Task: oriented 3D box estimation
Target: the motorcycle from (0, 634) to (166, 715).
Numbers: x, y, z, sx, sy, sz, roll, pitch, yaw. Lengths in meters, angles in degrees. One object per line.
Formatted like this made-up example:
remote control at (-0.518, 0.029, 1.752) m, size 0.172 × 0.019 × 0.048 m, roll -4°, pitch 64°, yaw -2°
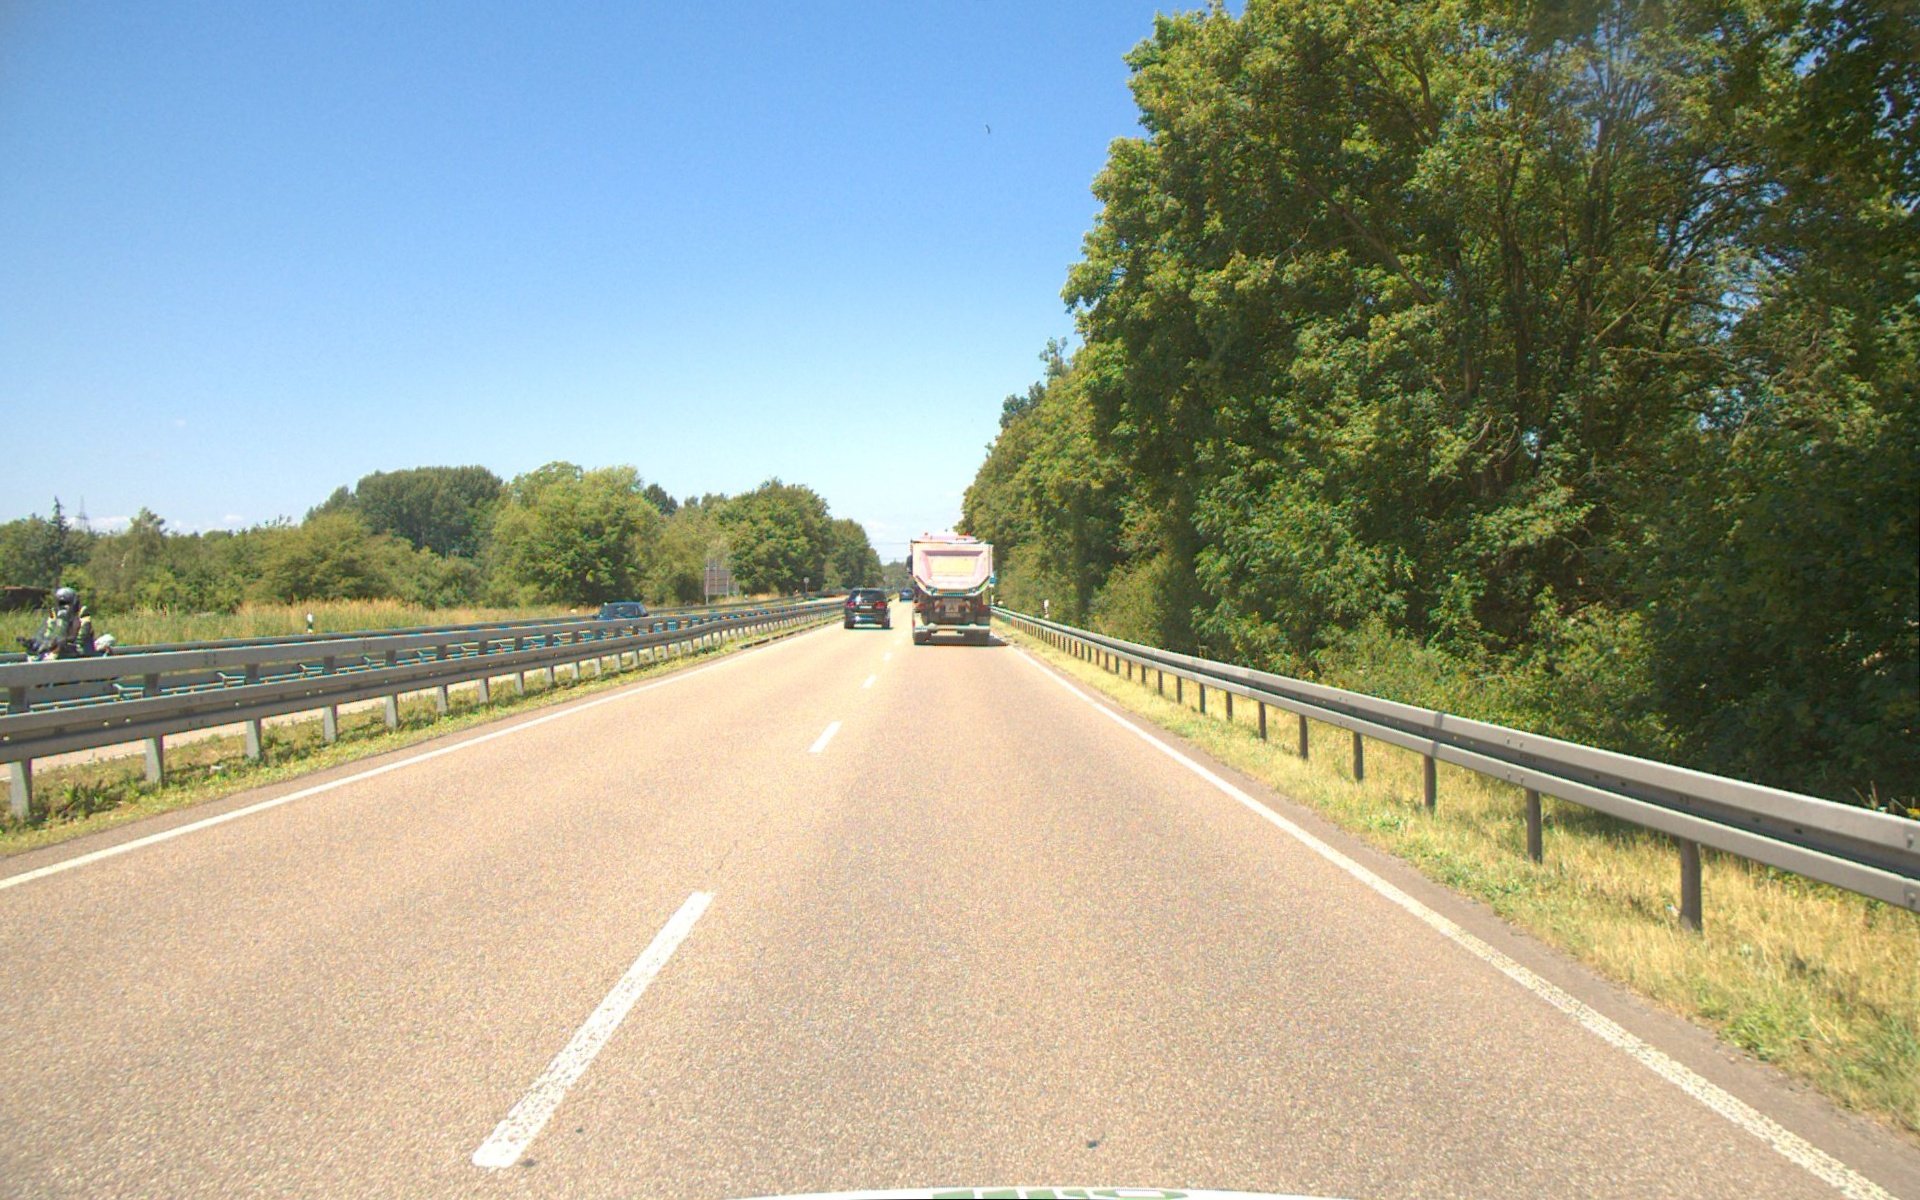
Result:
motorcycle at (-13.870, 1.126, 25.923) m, size 1.042 × 1.083 × 3.817 m, roll -1°, pitch 0°, yaw -1°

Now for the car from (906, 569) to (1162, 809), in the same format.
car at (0.467, 0.669, 13.791) m, size 1.820 × 1.700 × 3.998 m, roll 0°, pitch -1°, yaw -2°

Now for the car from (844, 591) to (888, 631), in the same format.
car at (-4.124, 0.505, 72.783) m, size 1.820 × 1.700 × 3.998 m, roll 0°, pitch -1°, yaw -2°

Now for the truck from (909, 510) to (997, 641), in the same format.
truck at (-0.393, -0.811, 56.714) m, size 2.665 × 3.998 × 12.366 m, roll 0°, pitch 1°, yaw -2°

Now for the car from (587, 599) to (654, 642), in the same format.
car at (-11.302, 0.657, 55.241) m, size 1.595 × 1.355 × 3.534 m, roll 0°, pitch 0°, yaw -1°

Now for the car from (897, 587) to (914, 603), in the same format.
car at (-6.103, -0.585, 186.064) m, size 1.820 × 1.748 × 3.998 m, roll 0°, pitch -1°, yaw -2°

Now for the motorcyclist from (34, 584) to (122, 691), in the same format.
motorcyclist at (-13.884, 0.581, 26.061) m, size 0.926 × 1.645 × 0.809 m, roll -1°, pitch 0°, yaw -2°
